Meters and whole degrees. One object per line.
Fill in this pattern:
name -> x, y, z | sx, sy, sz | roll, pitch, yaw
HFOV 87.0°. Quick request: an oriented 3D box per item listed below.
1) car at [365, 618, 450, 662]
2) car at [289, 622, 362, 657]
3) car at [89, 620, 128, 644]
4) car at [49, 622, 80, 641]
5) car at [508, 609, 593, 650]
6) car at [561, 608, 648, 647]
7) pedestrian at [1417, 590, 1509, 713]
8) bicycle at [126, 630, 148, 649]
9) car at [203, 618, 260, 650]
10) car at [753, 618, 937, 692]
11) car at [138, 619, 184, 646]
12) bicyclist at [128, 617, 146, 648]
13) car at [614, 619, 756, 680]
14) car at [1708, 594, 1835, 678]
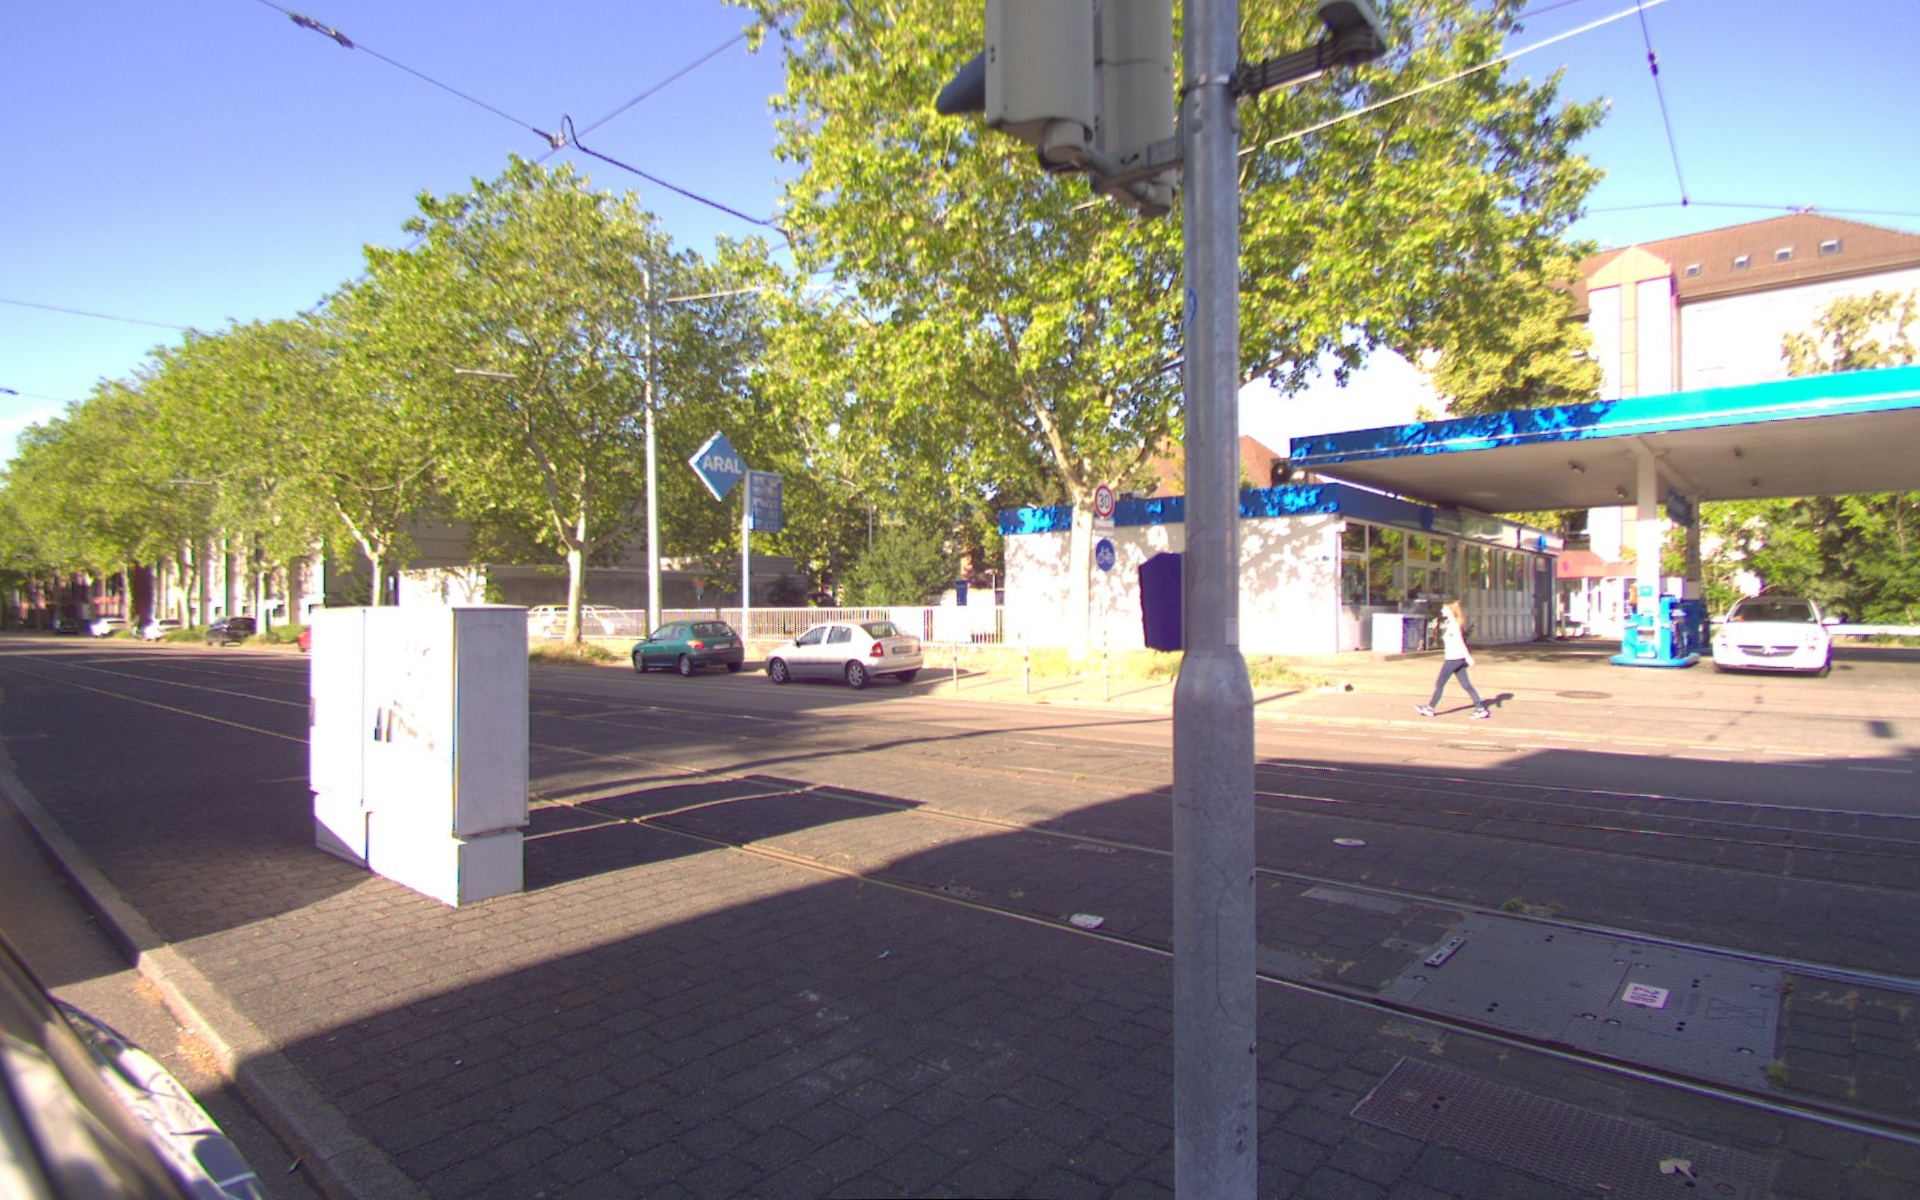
car -> -21.965, 1.539, 40.173 | 4.002, 1.545, 1.820 | -1, 1, 45
car -> -28.965, 1.771, 46.166 | 4.001, 1.418, 1.821 | -1, 1, 44
car -> -66.945, 2.485, 79.561 | 4.098, 1.686, 1.821 | -1, 1, 44
car -> -85.043, 2.942, 96.083 | 4.098, 1.686, 1.821 | -1, 1, 44
car -> -17.134, 1.194, 42.267 | 4.002, 1.545, 1.820 | -1, 1, 45
car -> -15.393, 1.171, 43.759 | 3.999, 1.545, 1.822 | -1, 1, 42
pedestrian -> 6.996, 0.700, 14.097 | 1.101, 1.631, 0.709 | -1, -1, 28
bicycle -> -51.172, 2.431, 62.932 | 2.532, 1.129, 0.645 | -1, -1, 41
car -> -40.657, 1.883, 56.466 | 4.098, 1.628, 1.821 | -1, 1, 44
car -> -2.621, 1.176, 22.633 | 3.997, 1.418, 1.823 | -1, 1, 40
car -> -53.841, 2.157, 68.190 | 4.098, 1.686, 1.821 | -1, 1, 44
bicyclist -> -51.174, 2.007, 62.928 | 1.070, 1.878, 0.711 | -1, -2, 41
car -> -7.428, 1.274, 27.122 | 4.138, 1.418, 1.820 | -1, 1, 45
car -> 15.995, 0.665, 19.898 | 1.780, 1.475, 3.946 | -1, -1, 40
